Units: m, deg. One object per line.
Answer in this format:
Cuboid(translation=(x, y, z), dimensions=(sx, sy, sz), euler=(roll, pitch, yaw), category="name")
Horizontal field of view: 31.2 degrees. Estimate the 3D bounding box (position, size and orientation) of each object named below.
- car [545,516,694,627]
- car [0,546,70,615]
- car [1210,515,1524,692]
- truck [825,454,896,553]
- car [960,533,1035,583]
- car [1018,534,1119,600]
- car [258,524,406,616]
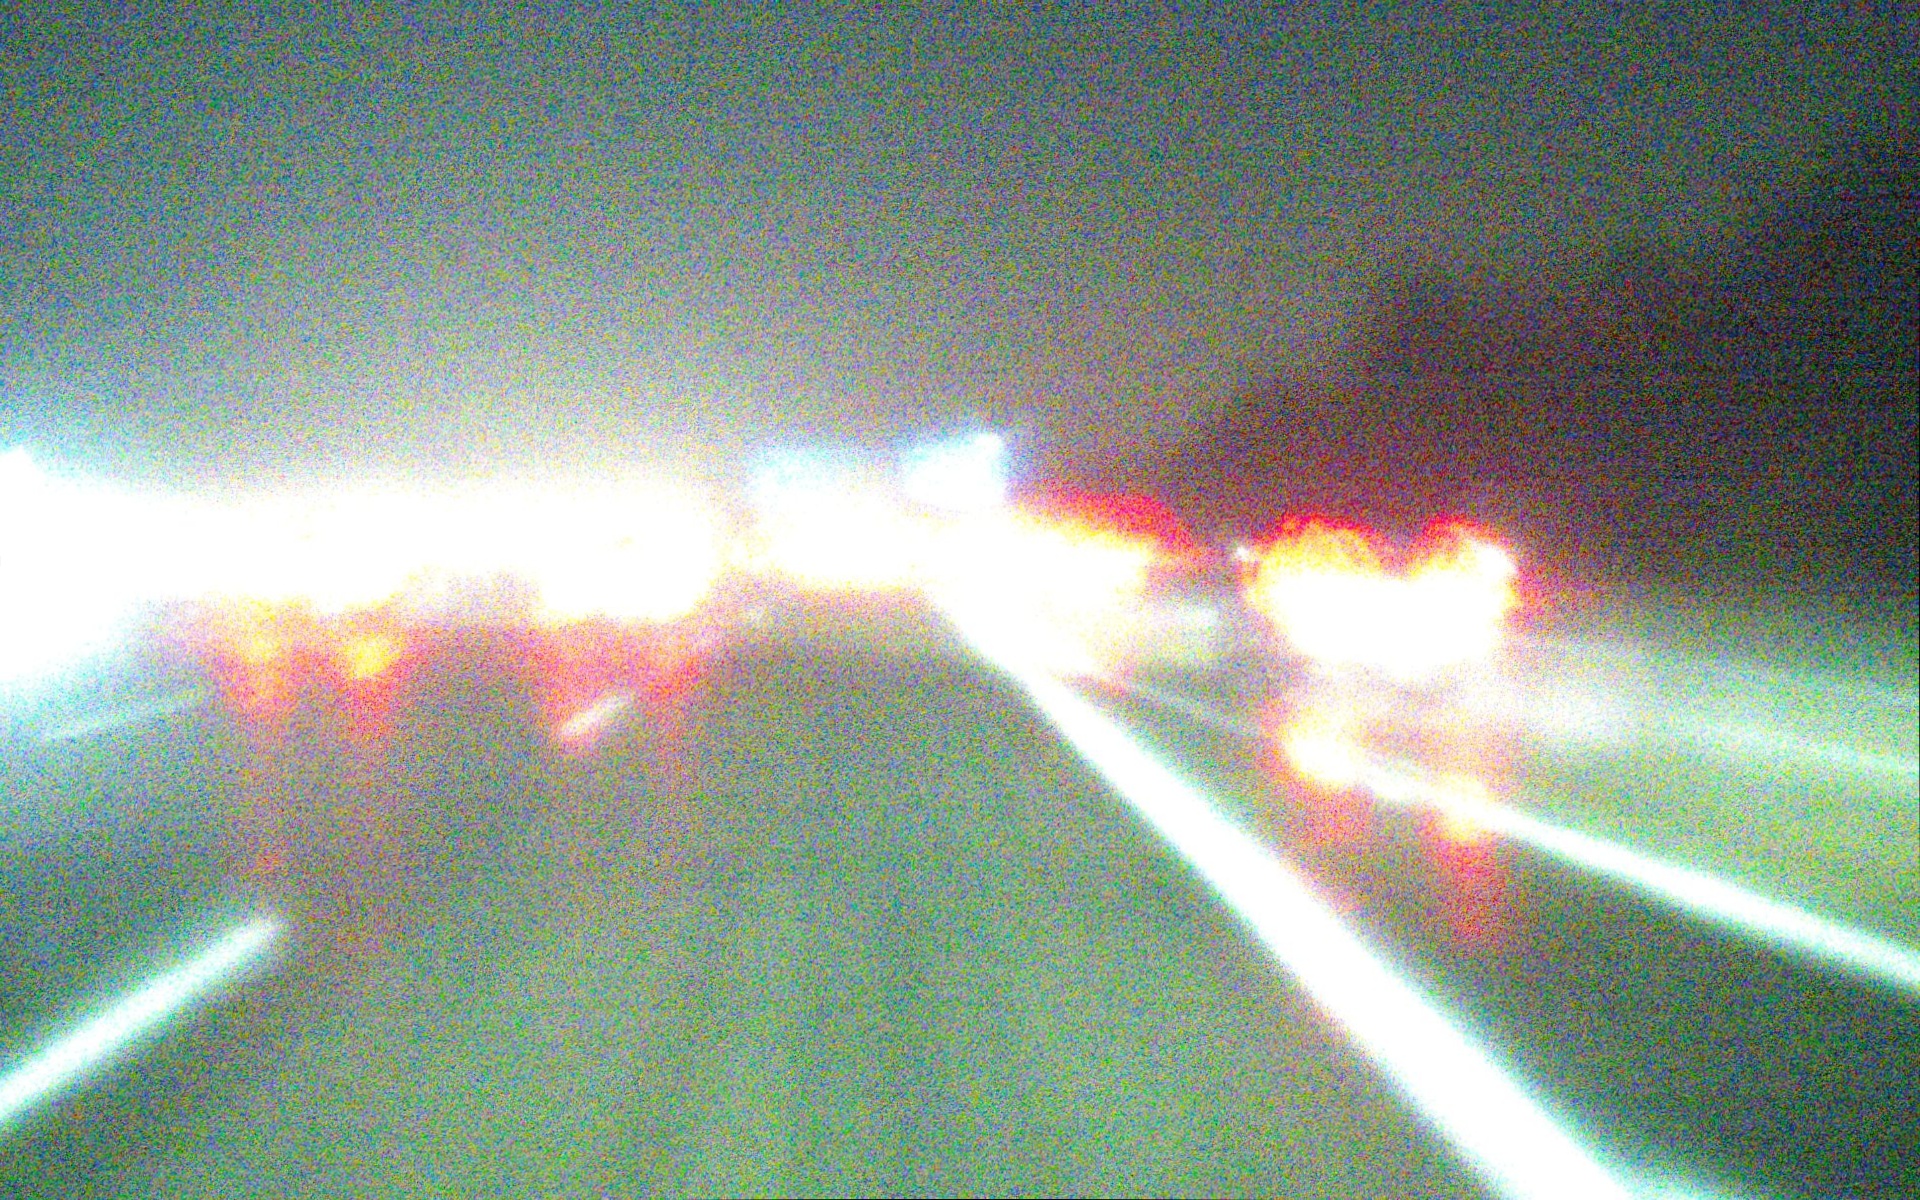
Cuboid(translation=(-4.775, -0.429, 48.626), dimensions=(1.801, 1.482, 4.000), euler=(1, 1, -1), category="car")
Cuboid(translation=(-19.342, -0.374, 69.615), dimensions=(1.614, 1.295, 3.702), euler=(-4, 0, 0), category="car")
Cuboid(translation=(3.706, -0.023, 32.265), dimensions=(2.057, 1.514, 5.016), euler=(1, 1, -3), category="car")
Cuboid(translation=(-3.303, -3.203, 115.447), dimensions=(1.993, 3.032, 6.465), euler=(-4, 0, 0), category="truck")
Cuboid(translation=(0.940, -1.059, 87.338), dimensions=(1.580, 1.242, 3.069), euler=(0, 0, -5), category="car")
Cuboid(translation=(2.092, -0.659, 67.008), dimensions=(1.580, 1.242, 3.069), euler=(1, 1, -5), category="car")
Cuboid(translation=(-9.392, -0.421, 51.637), dimensions=(1.662, 1.232, 3.762), euler=(-4, 0, -3), category="car")
